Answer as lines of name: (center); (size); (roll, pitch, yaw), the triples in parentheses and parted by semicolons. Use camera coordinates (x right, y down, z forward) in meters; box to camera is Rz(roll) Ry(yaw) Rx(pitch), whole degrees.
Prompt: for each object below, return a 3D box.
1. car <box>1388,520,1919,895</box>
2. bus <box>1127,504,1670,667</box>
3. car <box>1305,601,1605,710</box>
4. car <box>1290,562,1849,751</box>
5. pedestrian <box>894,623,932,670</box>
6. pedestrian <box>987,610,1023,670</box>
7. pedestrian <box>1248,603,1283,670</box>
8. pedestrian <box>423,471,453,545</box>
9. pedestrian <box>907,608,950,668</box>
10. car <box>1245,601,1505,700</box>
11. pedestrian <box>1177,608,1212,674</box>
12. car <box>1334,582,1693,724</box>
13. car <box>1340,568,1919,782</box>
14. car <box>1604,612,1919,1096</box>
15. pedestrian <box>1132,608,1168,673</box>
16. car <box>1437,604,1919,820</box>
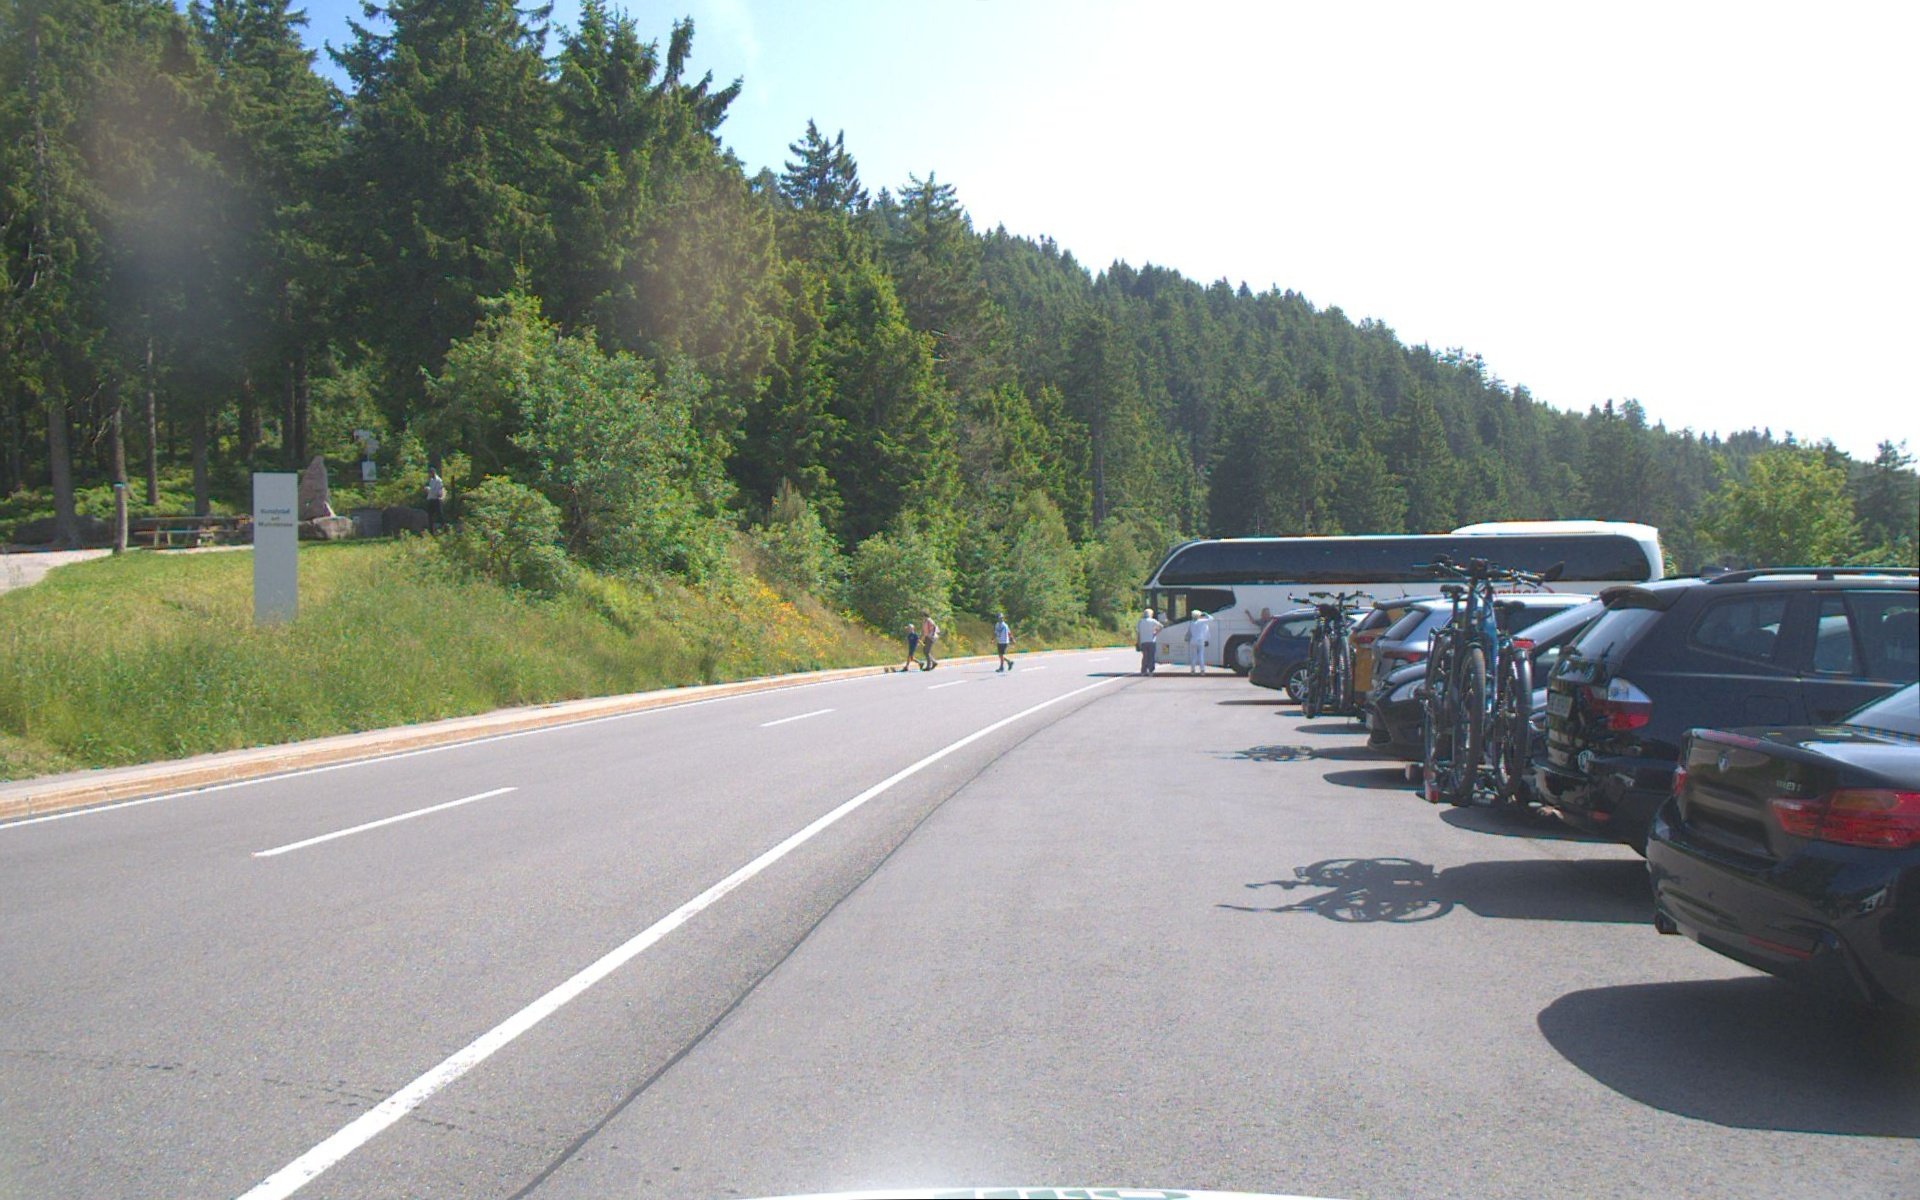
car: (4.815, 0.492, 8.547); (4.843, 1.725, 1.947); (-1, 0, 9)
bus: (10.905, -0.258, 42.111); (12.817, 3.594, 3.045); (-2, -1, 17)
car: (7.041, 0.783, 23.843); (3.902, 1.423, 1.621); (-2, -1, 7)
car: (5.950, 0.557, 16.748); (4.927, 1.680, 2.049); (-2, 0, 7)
pedestrian: (-1.338, 1.302, 46.678); (0.729, 1.302, 0.772); (-1, -1, -41)
pedestrian: (1.236, 1.085, 45.594); (0.838, 1.613, 0.816); (-1, -1, -10)
pedestrian: (7.621, 0.904, 41.237); (0.753, 1.613, 0.773); (-2, -1, 15)
pedestrian: (-13.752, -2.417, 43.561); (0.671, 1.910, 0.538); (-2, -1, -21)
pedestrian: (-0.911, 1.090, 47.708); (0.848, 1.713, 0.857); (-1, -1, -40)
car: (6.731, 0.815, 27.177); (3.902, 1.474, 1.862); (-2, 0, 7)
pedestrian: (5.853, 1.012, 41.211); (0.754, 1.613, 0.773); (-2, -1, 14)
car: (6.696, 0.640, 20.369); (3.902, 1.581, 1.661); (-2, -1, 7)
car: (5.436, 0.610, 13.916); (4.153, 1.581, 1.839); (-2, -1, 7)
car: (4.536, 0.782, 5.661); (3.997, 1.400, 1.702); (1, 0, 0)
pedestrian: (4.780, 1.012, 41.598); (0.754, 1.613, 0.773); (-2, -1, 14)
car: (5.550, 0.709, 11.272); (4.153, 1.291, 1.839); (-2, 0, 7)
